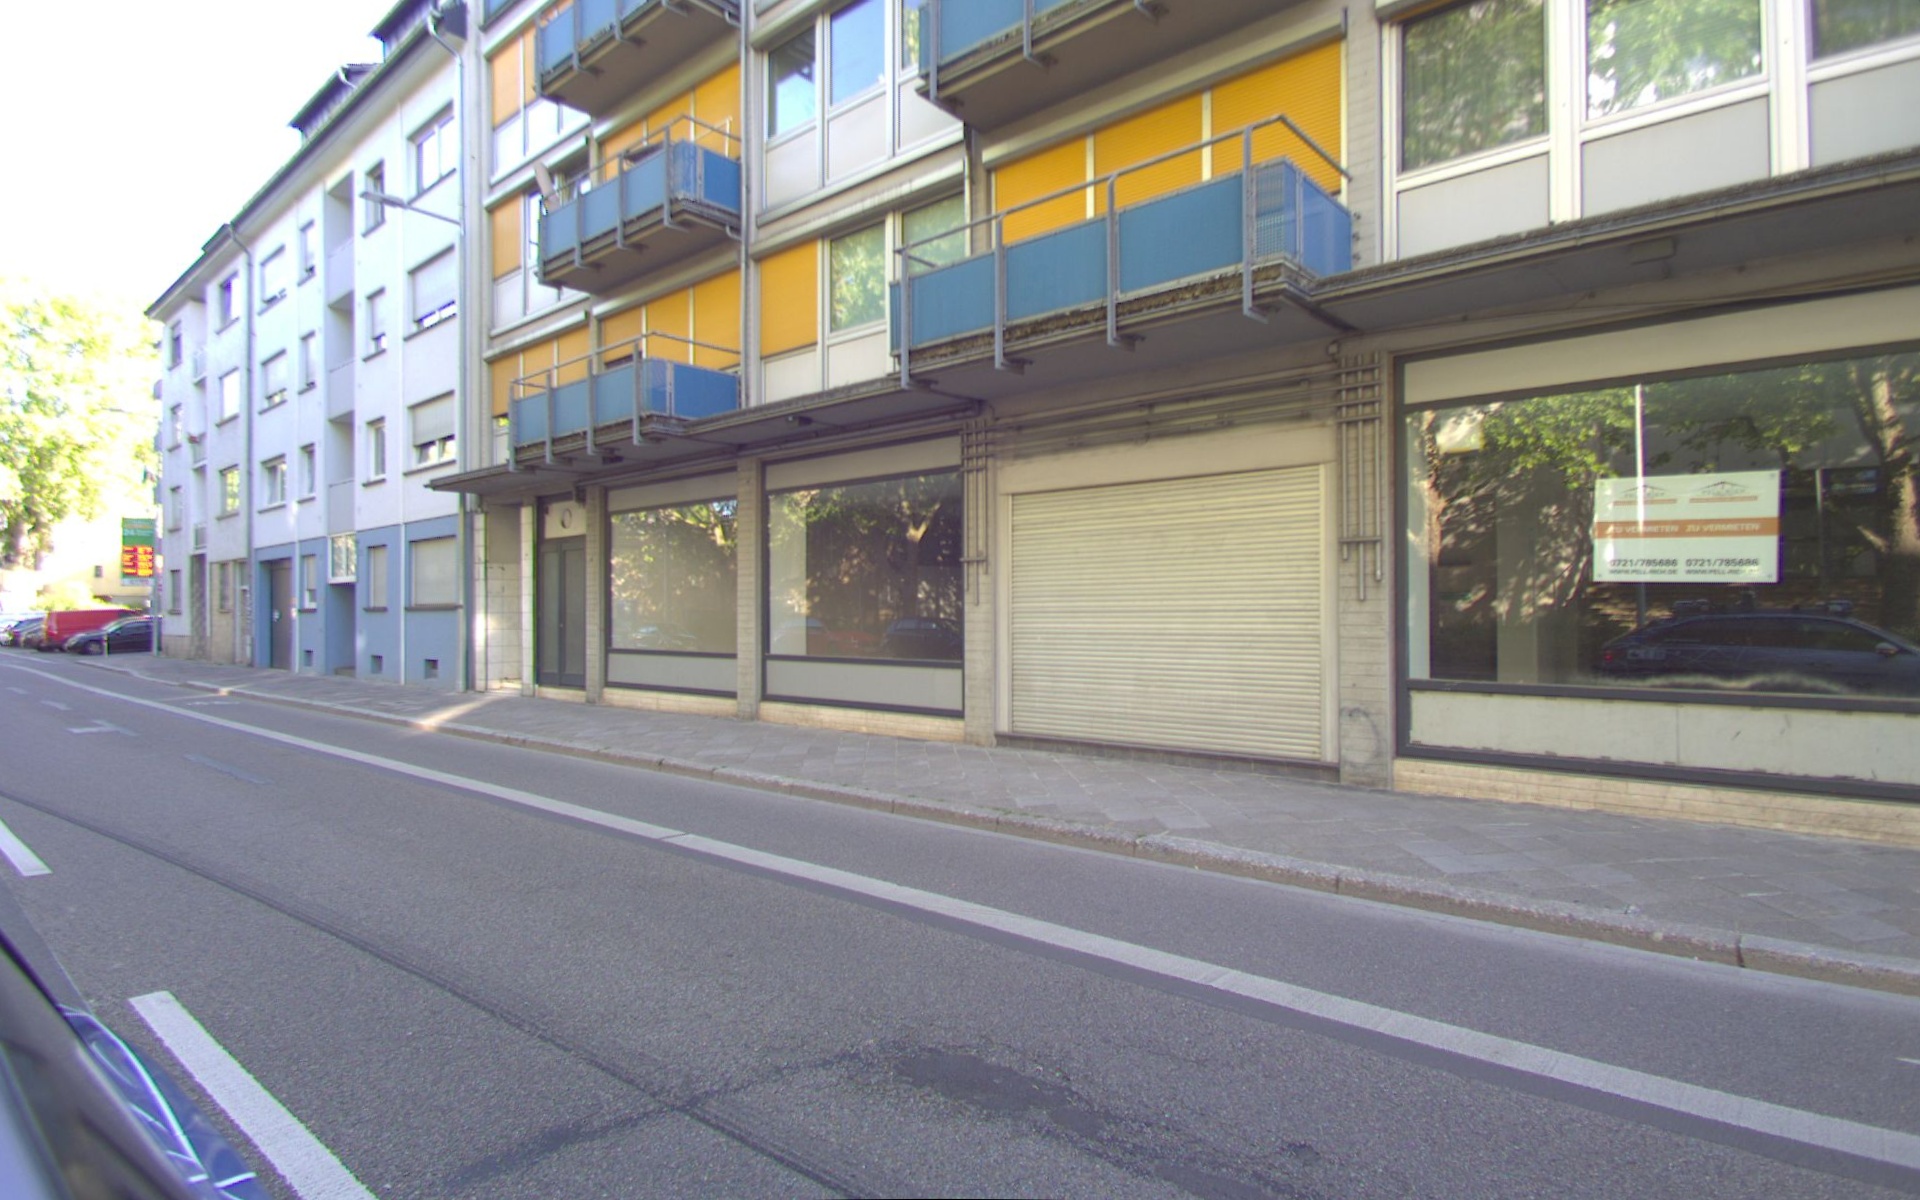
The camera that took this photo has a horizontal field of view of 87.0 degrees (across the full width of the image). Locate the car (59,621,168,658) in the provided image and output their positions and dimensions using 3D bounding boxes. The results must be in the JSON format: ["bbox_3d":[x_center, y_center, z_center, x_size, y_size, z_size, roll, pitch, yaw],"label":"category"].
[{"bbox_3d":[-38.188,1.759,45.720,1.490,1.523,3.638,-1,0,43],"label":"car"}]

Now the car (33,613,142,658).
[{"bbox_3d":[-40.647,1.639,47.219,1.488,1.923,3.642,-4,-2,39],"label":"car"}]

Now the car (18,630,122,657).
[{"bbox_3d":[-42.810,2.065,48.734,1.345,1.137,3.638,-1,0,43],"label":"car"}]

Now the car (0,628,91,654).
[{"bbox_3d":[-50.442,2.232,55.872,1.345,1.254,3.638,-1,0,43],"label":"car"}]

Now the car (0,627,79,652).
[{"bbox_3d":[-52.256,2.240,57.501,1.345,1.254,3.228,-1,0,43],"label":"car"}]

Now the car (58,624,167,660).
[{"bbox_3d":[-36.672,1.802,43.840,1.490,1.398,3.462,-1,0,43],"label":"car"}]
